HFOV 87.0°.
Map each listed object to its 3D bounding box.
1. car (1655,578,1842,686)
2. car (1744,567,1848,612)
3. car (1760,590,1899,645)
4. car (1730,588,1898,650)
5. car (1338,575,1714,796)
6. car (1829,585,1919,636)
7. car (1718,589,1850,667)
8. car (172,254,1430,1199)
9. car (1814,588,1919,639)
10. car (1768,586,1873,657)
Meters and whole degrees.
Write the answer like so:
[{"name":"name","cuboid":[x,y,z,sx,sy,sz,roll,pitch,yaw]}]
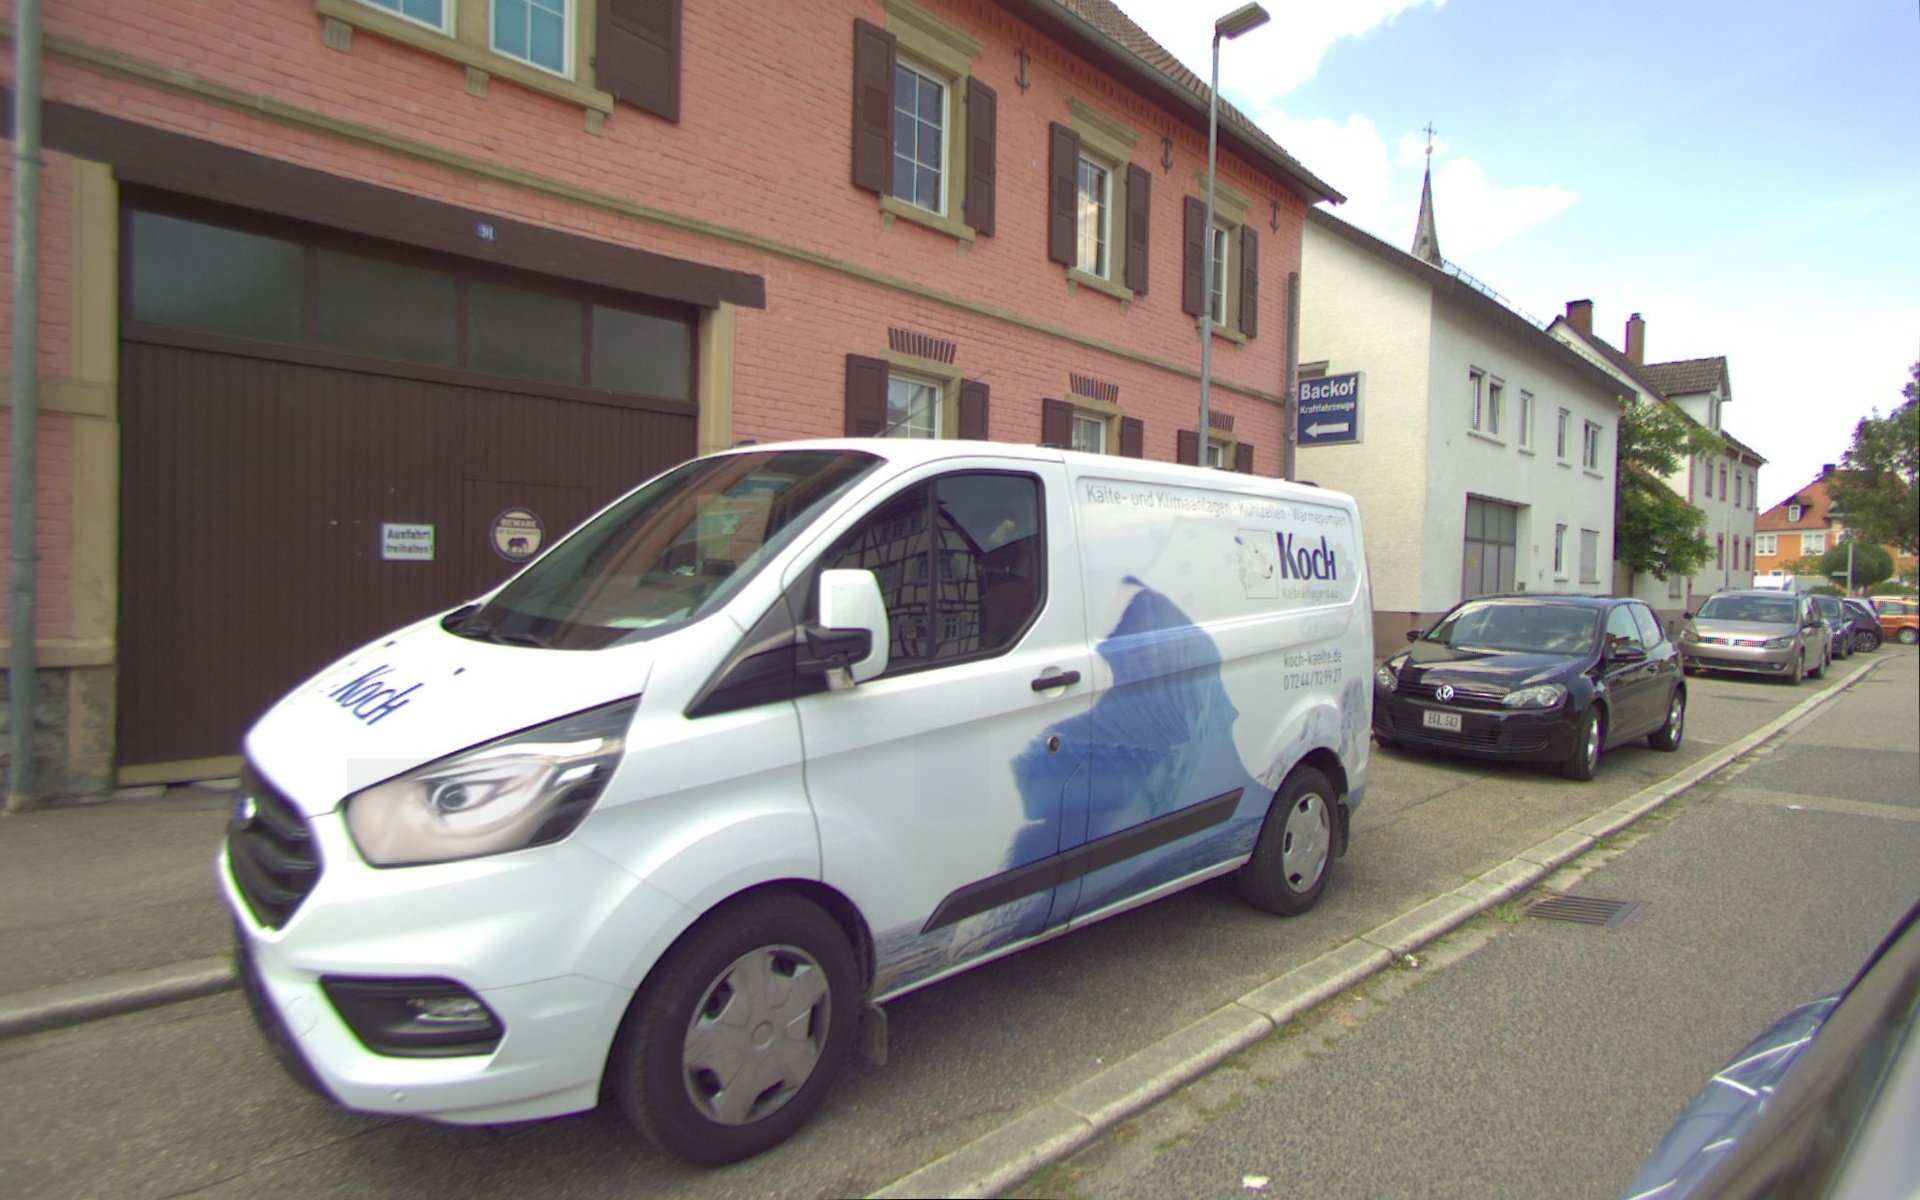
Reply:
[{"name":"car","cuboid":[14.535,0.498,18.581,4.249,1.701,1.997,0,2,-43]},{"name":"car","cuboid":[58.703,-0.744,71.052,6.966,2.999,2.767,0,3,-25]},{"name":"car","cuboid":[26.617,0.493,31.095,2.758,1.523,1.862,2,2,25]},{"name":"car","cuboid":[24.654,0.510,29.345,3.199,1.523,1.814,4,2,22]},{"name":"car","cuboid":[5.340,0.599,9.316,4.091,1.513,1.778,0,3,-43]},{"name":"car","cuboid":[33.856,0.378,36.323,3.851,1.596,1.822,5,6,45]},{"name":"car","cuboid":[18.833,0.564,23.072,1.994,1.536,4.303,3,2,43]},{"name":"car","cuboid":[-0.073,0.327,4.165,4.848,2.006,1.895,0,4,-44]},{"name":"car","cuboid":[31.897,0.455,35.003,1.697,1.596,3.383,0,3,-42]},{"name":"car","cuboid":[22.515,0.505,26.429,4.201,1.644,1.664,0,2,-44]}]
